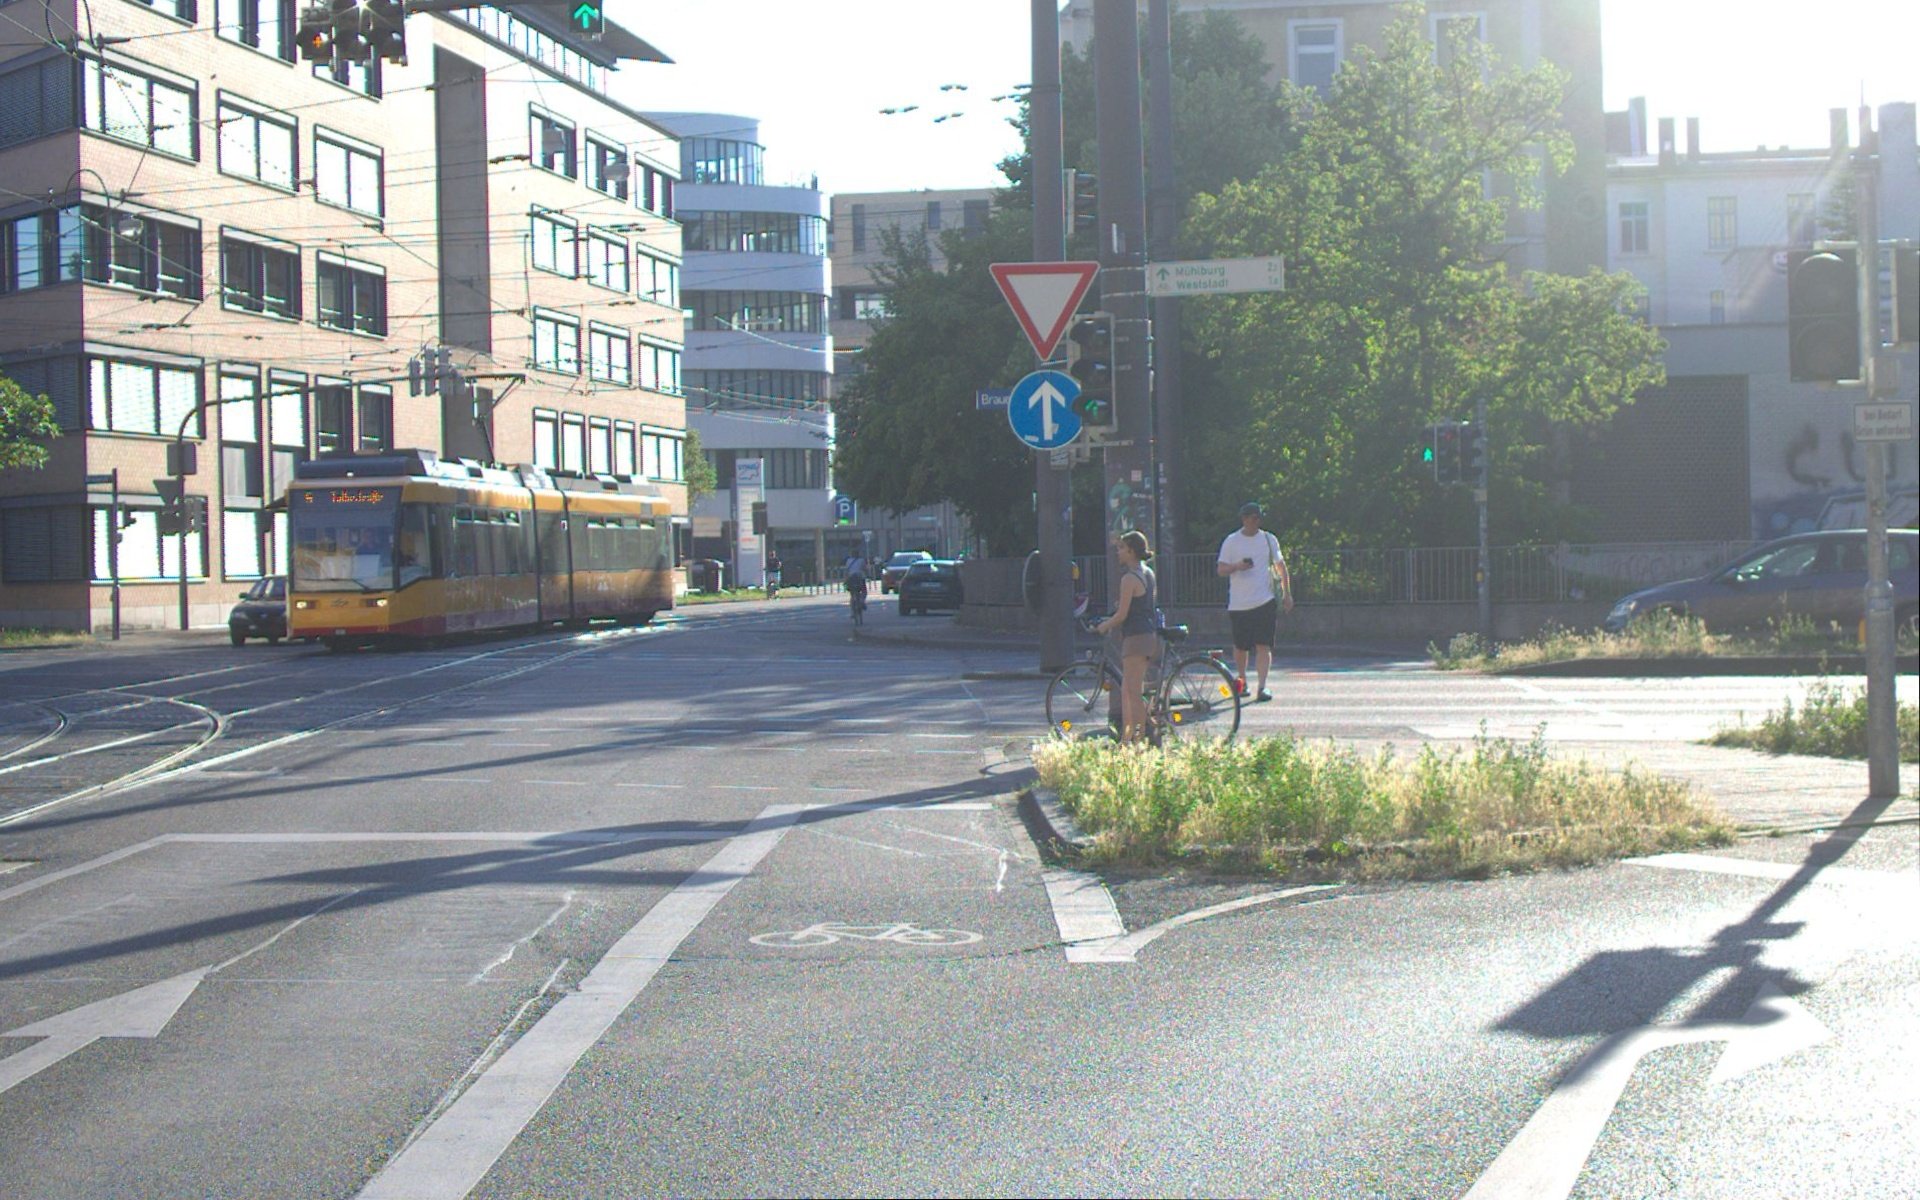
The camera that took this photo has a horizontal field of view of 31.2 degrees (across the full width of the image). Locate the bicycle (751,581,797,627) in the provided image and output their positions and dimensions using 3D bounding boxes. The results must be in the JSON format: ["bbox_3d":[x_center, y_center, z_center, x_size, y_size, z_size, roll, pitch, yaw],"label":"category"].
[{"bbox_3d":[-6.852,0.138,126.835,1.030,1.646,2.559,-1,0,12],"label":"bicycle"}]

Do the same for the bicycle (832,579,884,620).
[{"bbox_3d":[-2.242,-0.018,75.637,0.695,0.874,2.026,-1,0,11],"label":"bicycle"}]

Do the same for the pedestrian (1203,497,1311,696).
[{"bbox_3d":[2.733,-0.033,31.551,0.909,1.783,0.827,-1,0,8],"label":"pedestrian"}]

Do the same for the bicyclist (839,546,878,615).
[{"bbox_3d":[-2.240,-0.430,75.674,0.674,1.517,0.813,-1,0,11],"label":"bicyclist"}]

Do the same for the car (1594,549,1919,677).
[{"bbox_3d":[9.055,0.136,36.548,4.240,1.292,1.722,-1,0,26],"label":"car"}]

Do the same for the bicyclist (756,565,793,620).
[{"bbox_3d":[-6.849,-0.283,126.919,1.030,2.007,1.246,1,-1,12],"label":"bicyclist"}]

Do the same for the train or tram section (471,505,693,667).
[{"bbox_3d":[-8.719,-0.306,80.898,2.861,3.496,11.295,-1,0,6],"label":"train or tram section"}]

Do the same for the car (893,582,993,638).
[{"bbox_3d":[-0.410,0.235,88.802,1.786,1.383,3.998,-1,0,12],"label":"car"}]

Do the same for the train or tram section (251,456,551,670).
[{"bbox_3d":[-10.043,-0.618,63.484,2.861,3.496,13.014,-1,0,2],"label":"train or tram section"}]

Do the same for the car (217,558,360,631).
[{"bbox_3d":[-13.251,-0.107,68.072,1.809,1.375,4.162,-1,0,3],"label":"car"}]

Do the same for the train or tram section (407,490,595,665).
[{"bbox_3d":[-9.615,-0.460,72.581,2.861,3.496,5.303,-1,0,4],"label":"train or tram section"}]

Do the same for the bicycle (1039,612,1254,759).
[{"bbox_3d":[1.336,0.613,24.857,1.670,1.026,0.398,-1,0,43],"label":"bicycle"}]

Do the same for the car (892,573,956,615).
[{"bbox_3d":[-1.456,-0.244,139.552,1.816,1.609,4.463,-1,0,10],"label":"car"}]

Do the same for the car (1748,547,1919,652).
[{"bbox_3d":[12.149,-0.021,43.788,3.886,1.292,1.722,-1,0,22],"label":"car"}]

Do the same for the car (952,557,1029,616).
[{"bbox_3d":[0.997,-0.418,111.198,1.994,1.810,3.998,1,-1,7],"label":"car"}]

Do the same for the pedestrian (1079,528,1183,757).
[{"bbox_3d":[1.235,0.300,24.778,0.525,1.626,0.488,-1,0,43],"label":"pedestrian"}]
